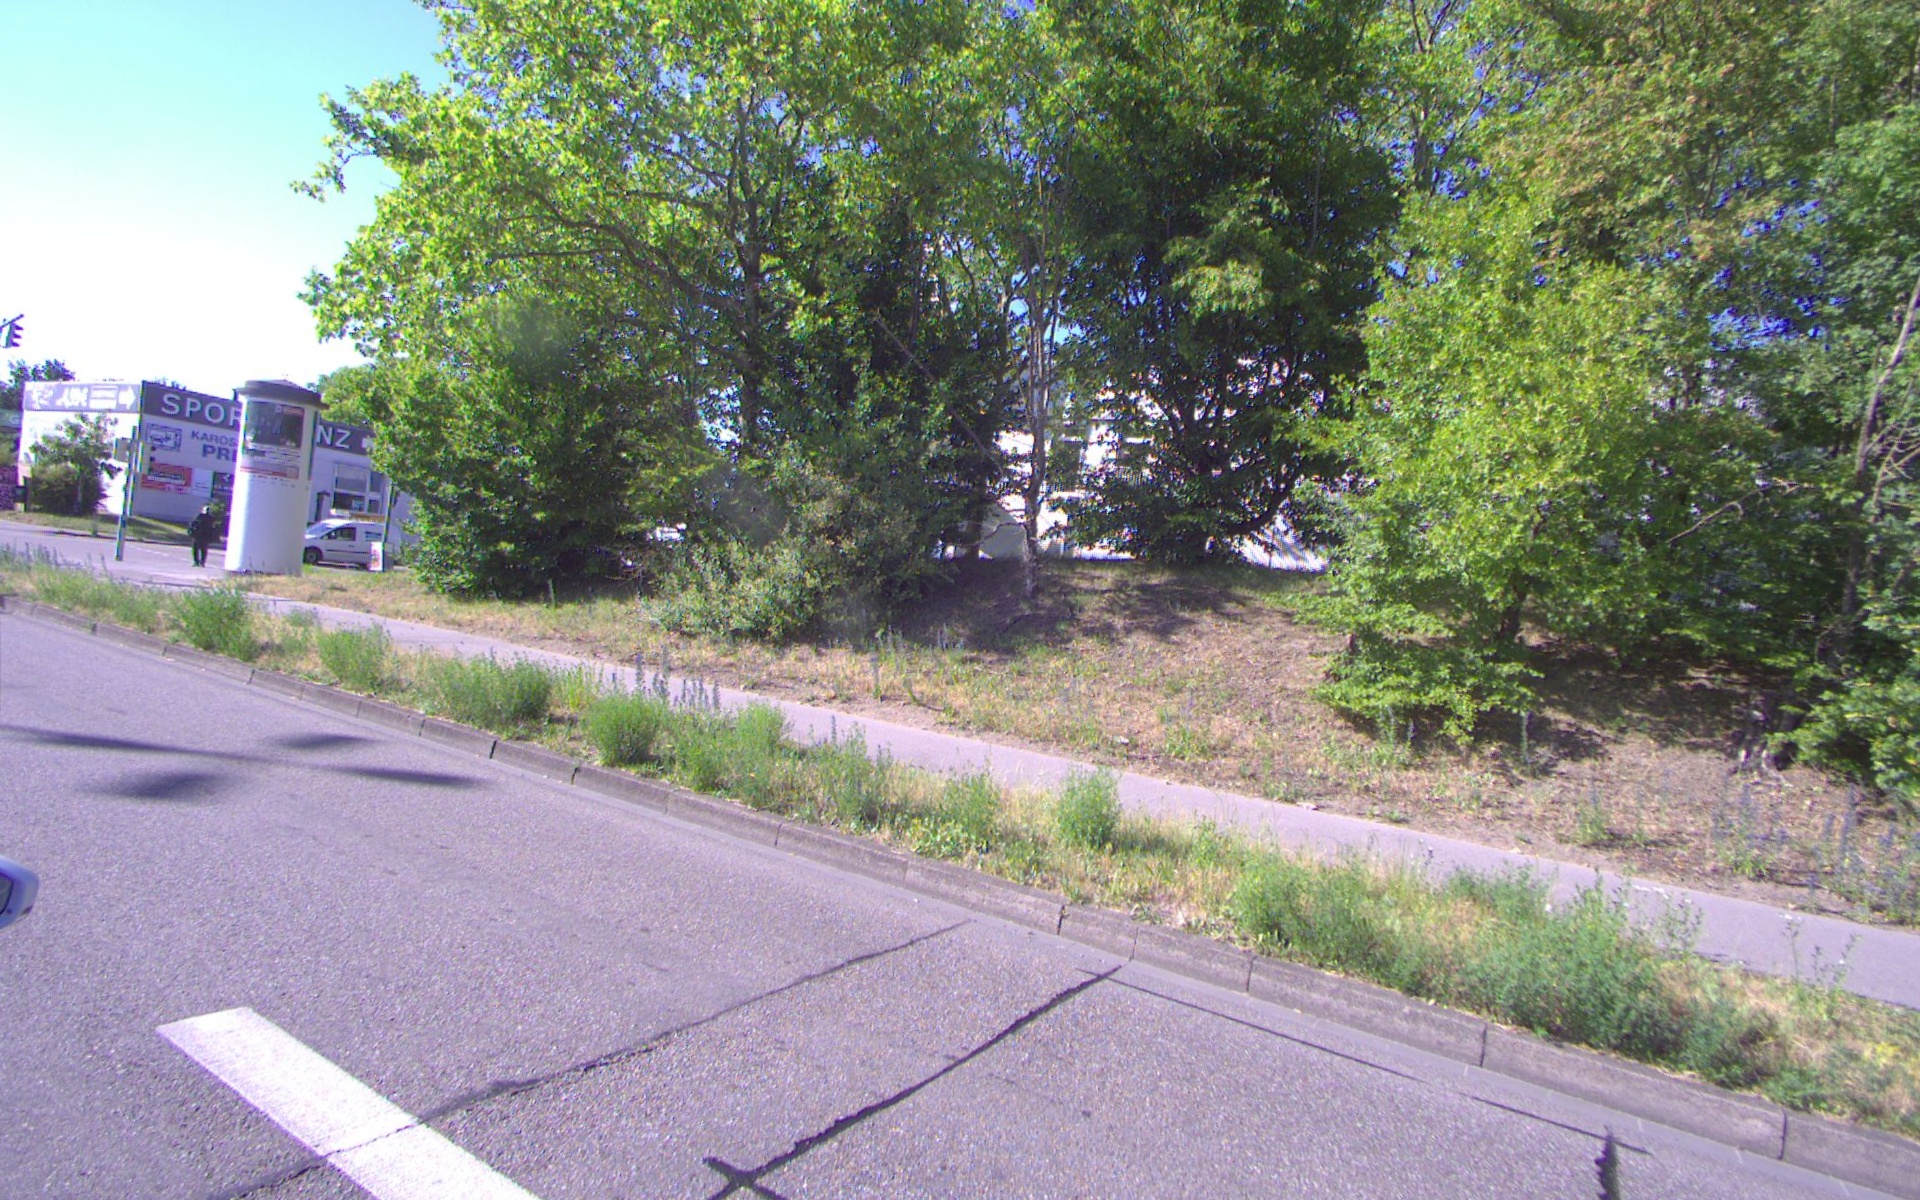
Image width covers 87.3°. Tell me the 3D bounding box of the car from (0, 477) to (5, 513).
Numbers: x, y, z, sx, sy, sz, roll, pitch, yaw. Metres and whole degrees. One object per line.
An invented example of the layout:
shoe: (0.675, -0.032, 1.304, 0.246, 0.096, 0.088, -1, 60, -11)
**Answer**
car: (-48.283, -5.350, 47.685, 1.663, 1.726, 4.003, 7, -1, 16)

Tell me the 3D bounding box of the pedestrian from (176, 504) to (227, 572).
pedestrian: (-21.217, -1.723, 28.134, 0.841, 1.743, 0.822, 7, 0, 39)

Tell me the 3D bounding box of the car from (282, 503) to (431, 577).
car: (-23.383, -2.293, 39.173, 1.965, 2.171, 4.415, 7, -1, 28)

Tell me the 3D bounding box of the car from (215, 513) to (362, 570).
car: (-26.826, -2.288, 40.345, 1.965, 1.571, 4.415, 7, -1, 28)
